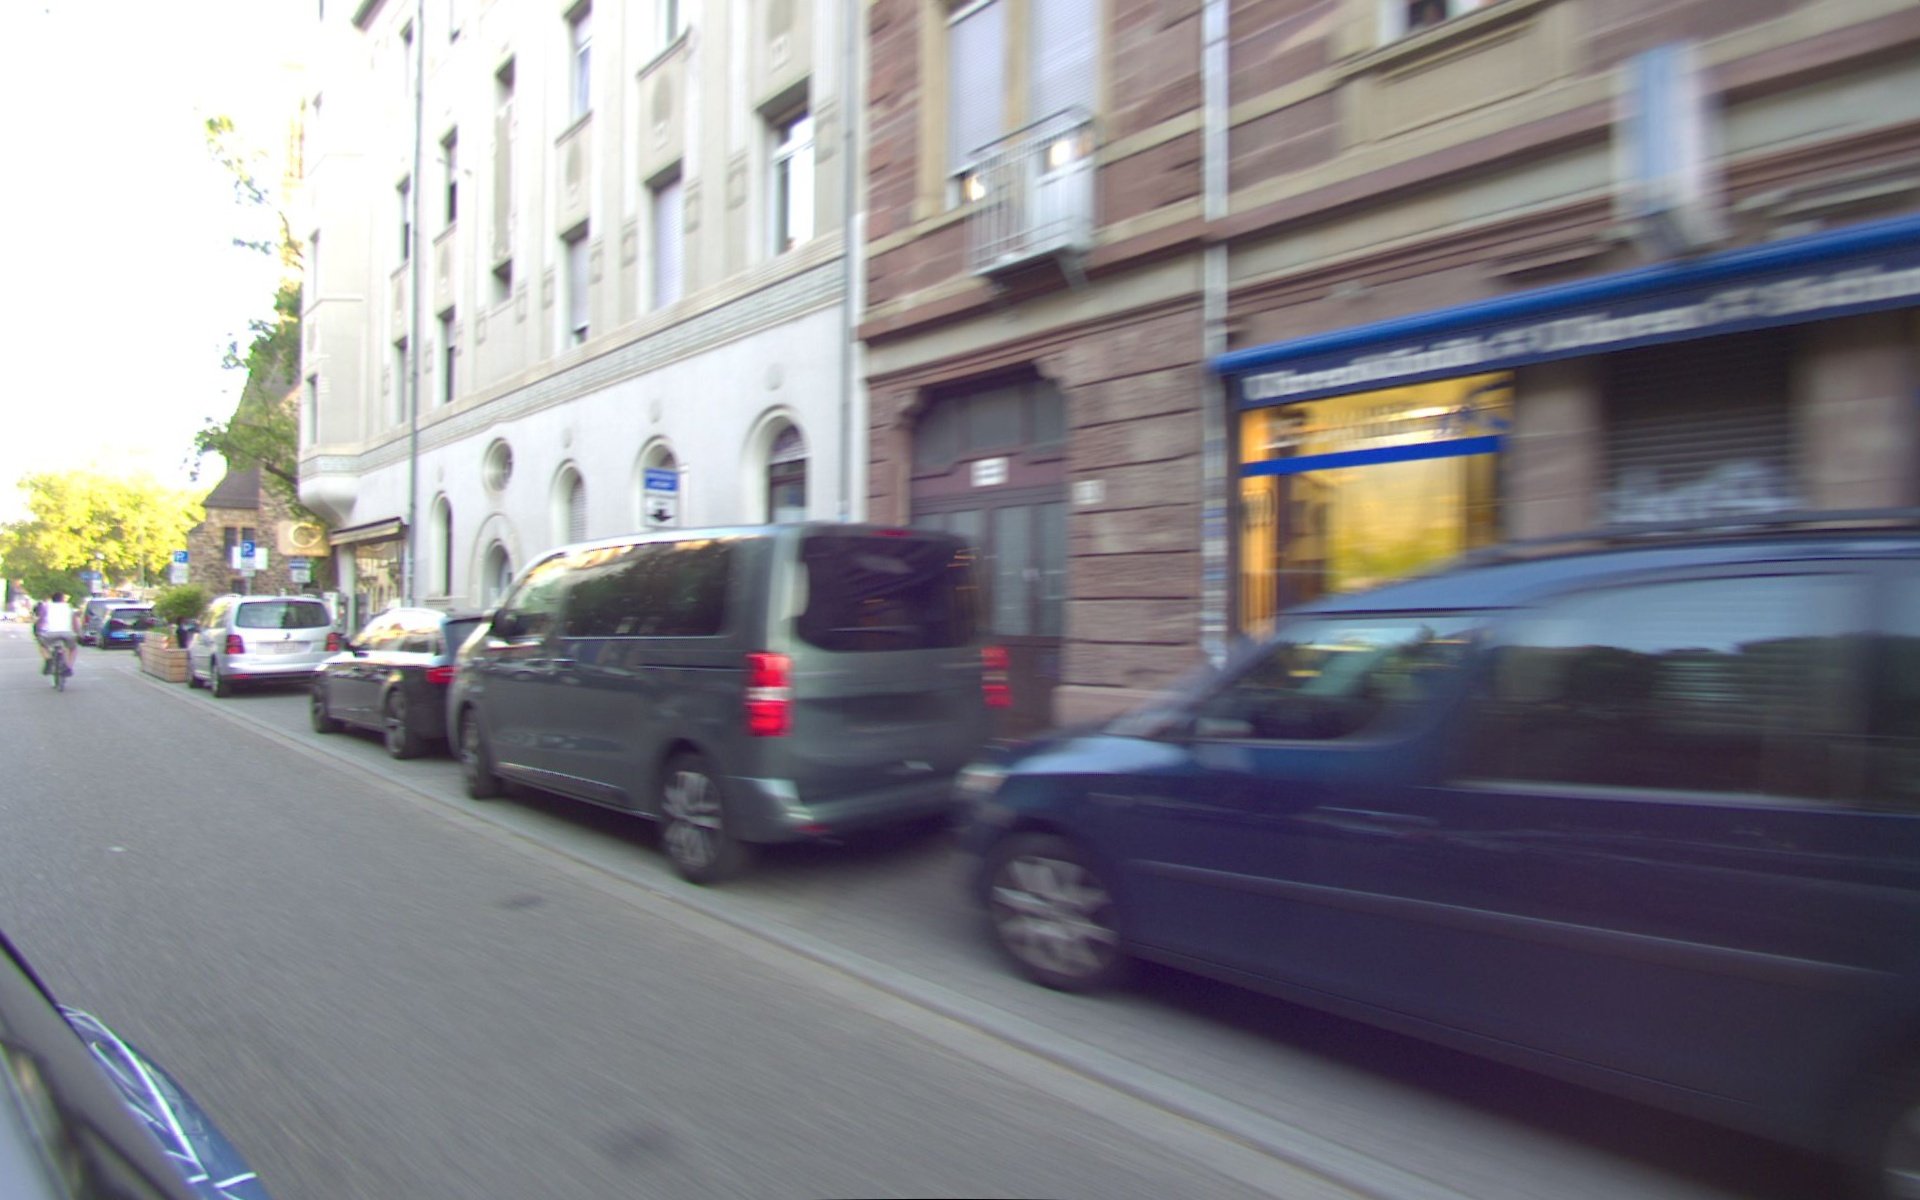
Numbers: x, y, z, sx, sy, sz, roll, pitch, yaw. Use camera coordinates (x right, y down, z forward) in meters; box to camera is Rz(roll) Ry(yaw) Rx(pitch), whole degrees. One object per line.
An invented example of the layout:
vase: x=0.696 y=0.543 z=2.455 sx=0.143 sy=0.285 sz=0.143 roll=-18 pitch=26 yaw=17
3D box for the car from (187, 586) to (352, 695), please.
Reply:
car: x=-11.961 y=0.634 z=17.429 sx=1.706 sy=1.660 sz=3.919 roll=0 pitch=0 yaw=-44

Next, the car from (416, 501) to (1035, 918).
car: x=-1.951 y=0.531 z=7.037 sx=1.905 sy=1.897 sz=4.908 roll=1 pitch=-1 yaw=-45

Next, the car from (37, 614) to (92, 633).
car: x=-92.979 y=2.464 z=105.154 sx=4.014 sy=1.711 sz=1.682 roll=4 pitch=-3 yaw=-34

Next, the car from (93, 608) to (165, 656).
car: x=-29.811 y=1.107 z=36.273 sx=1.760 sy=1.558 sz=4.004 roll=0 pitch=0 yaw=-43

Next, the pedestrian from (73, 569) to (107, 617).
pedestrian: x=-50.423 y=-0.409 z=58.650 sx=1.012 sy=2.761 sz=1.425 roll=0 pitch=0 yaw=44

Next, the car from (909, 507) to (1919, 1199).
car: x=1.822 y=0.644 z=3.425 sx=1.904 sy=1.608 sz=3.974 roll=1 pitch=-1 yaw=-43

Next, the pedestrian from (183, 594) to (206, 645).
pedestrian: x=-26.883 y=0.673 z=35.542 sx=0.563 sy=1.746 sz=0.558 roll=0 pitch=0 yaw=45

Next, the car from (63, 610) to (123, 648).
car: x=-38.545 y=1.259 z=44.959 sx=1.761 sy=1.558 sz=4.002 roll=0 pitch=0 yaw=-45

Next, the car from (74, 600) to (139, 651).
car: x=-33.488 y=0.939 z=39.648 sx=1.760 sy=1.885 sz=4.462 roll=0 pitch=0 yaw=-43

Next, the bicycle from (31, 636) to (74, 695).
bicycle: x=-16.373 y=1.152 z=18.250 sx=1.897 sy=0.951 sz=0.470 roll=0 pitch=0 yaw=45

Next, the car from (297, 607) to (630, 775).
car: x=-5.532 y=0.813 z=10.981 sx=1.905 sy=1.441 sz=4.484 roll=1 pitch=-1 yaw=-45

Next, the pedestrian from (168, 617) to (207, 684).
pedestrian: x=-15.706 y=1.011 z=20.572 sx=0.496 sy=1.332 sz=0.563 roll=0 pitch=0 yaw=45

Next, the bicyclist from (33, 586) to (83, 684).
bicyclist: x=-16.220 y=0.608 z=18.197 sx=1.004 sy=1.705 sz=0.615 roll=0 pitch=0 yaw=45

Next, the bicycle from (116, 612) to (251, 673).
bicycle: x=-19.134 y=1.028 z=25.022 sx=2.579 sy=1.409 sz=0.603 roll=0 pitch=0 yaw=-32
